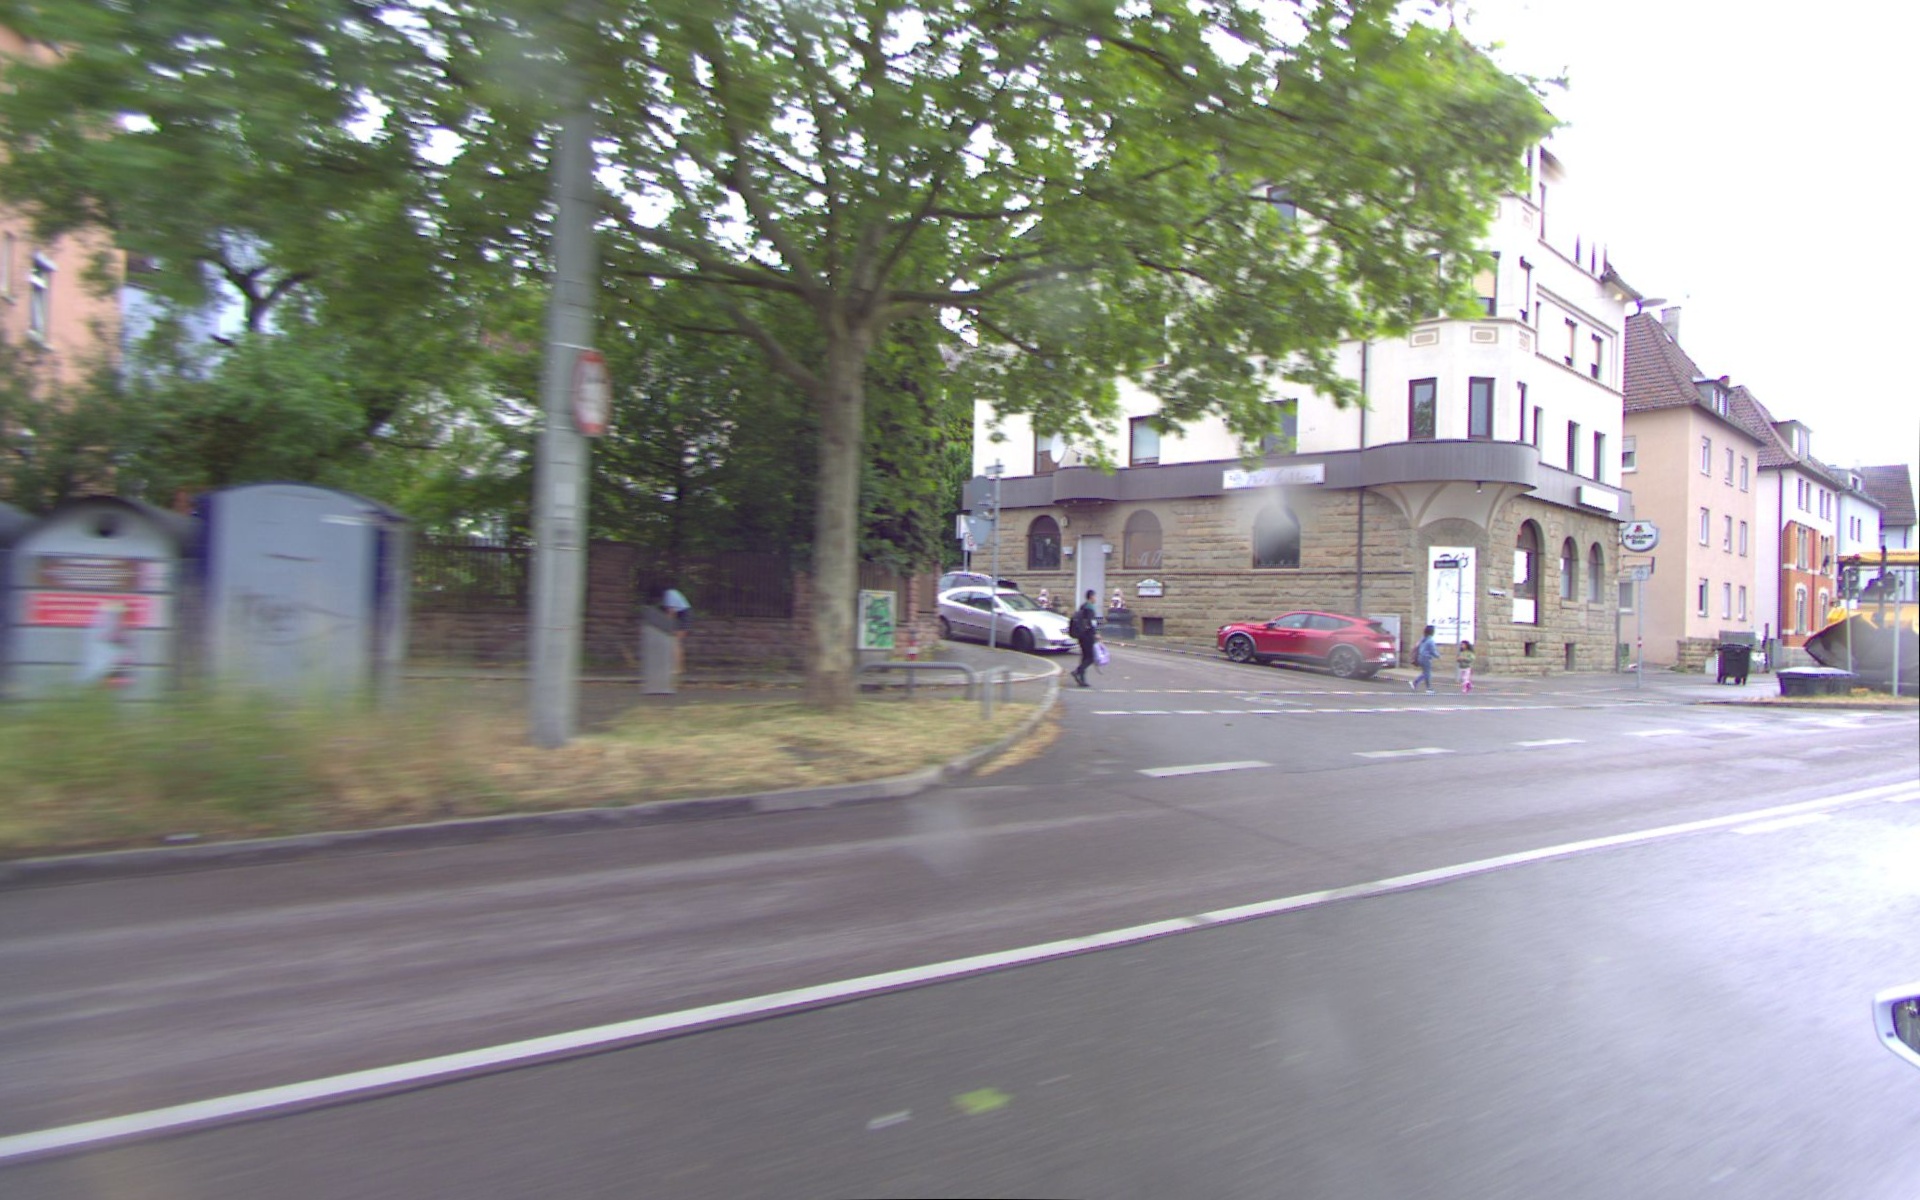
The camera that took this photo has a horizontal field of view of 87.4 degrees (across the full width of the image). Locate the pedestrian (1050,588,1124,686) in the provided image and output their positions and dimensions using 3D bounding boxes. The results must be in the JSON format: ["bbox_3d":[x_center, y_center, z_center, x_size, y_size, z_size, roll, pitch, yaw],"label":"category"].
[{"bbox_3d":[2.207,0.619,17.550,0.980,1.652,0.886,0,1,-20],"label":"pedestrian"}]

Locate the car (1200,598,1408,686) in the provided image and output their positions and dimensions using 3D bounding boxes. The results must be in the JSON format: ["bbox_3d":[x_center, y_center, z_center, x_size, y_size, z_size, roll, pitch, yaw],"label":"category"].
[{"bbox_3d":[8.595,0.963,25.301,4.476,1.595,1.928,7,5,39],"label":"car"}]

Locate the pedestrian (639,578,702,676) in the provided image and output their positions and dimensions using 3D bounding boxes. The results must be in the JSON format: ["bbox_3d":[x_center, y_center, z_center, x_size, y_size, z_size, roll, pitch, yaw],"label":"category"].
[{"bbox_3d":[-4.191,0.369,14.515,0.779,1.373,0.789,0,1,-23],"label":"pedestrian"}]

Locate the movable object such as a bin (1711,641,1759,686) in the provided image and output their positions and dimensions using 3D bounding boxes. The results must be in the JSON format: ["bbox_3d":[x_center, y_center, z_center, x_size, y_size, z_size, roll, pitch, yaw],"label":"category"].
[{"bbox_3d":[22.911,1.862,29.720,0.877,1.239,1.202,1,1,28],"label":"movable object such as a bin"}]

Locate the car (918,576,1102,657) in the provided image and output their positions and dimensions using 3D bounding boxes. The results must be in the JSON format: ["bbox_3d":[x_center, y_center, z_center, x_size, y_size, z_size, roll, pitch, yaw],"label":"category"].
[{"bbox_3d":[1.141,0.340,24.513,4.206,1.404,1.877,9,6,42],"label":"car"}]

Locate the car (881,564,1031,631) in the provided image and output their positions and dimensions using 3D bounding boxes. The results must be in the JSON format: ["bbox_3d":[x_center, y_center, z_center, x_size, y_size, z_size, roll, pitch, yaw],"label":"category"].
[{"bbox_3d":[-0.180,-0.134,32.418,4.476,1.595,2.068,9,6,39],"label":"car"}]

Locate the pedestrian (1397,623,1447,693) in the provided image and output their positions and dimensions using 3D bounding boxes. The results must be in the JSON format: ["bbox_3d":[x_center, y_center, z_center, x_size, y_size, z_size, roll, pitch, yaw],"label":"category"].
[{"bbox_3d":[9.965,1.238,21.668,0.771,1.420,0.803,2,2,40],"label":"pedestrian"}]

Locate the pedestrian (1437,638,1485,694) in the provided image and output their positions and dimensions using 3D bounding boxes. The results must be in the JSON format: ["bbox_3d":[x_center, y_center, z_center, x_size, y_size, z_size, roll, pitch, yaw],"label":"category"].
[{"bbox_3d":[11.029,1.435,22.115,0.739,1.139,0.722,0,2,-44],"label":"pedestrian"}]

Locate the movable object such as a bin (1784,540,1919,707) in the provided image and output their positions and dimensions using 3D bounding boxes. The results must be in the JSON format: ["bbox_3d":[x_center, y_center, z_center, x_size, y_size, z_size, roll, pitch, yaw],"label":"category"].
[{"bbox_3d":[24.210,0.523,26.101,5.926,3.908,2.756,0,1,-35],"label":"movable object such as a bin"}]
